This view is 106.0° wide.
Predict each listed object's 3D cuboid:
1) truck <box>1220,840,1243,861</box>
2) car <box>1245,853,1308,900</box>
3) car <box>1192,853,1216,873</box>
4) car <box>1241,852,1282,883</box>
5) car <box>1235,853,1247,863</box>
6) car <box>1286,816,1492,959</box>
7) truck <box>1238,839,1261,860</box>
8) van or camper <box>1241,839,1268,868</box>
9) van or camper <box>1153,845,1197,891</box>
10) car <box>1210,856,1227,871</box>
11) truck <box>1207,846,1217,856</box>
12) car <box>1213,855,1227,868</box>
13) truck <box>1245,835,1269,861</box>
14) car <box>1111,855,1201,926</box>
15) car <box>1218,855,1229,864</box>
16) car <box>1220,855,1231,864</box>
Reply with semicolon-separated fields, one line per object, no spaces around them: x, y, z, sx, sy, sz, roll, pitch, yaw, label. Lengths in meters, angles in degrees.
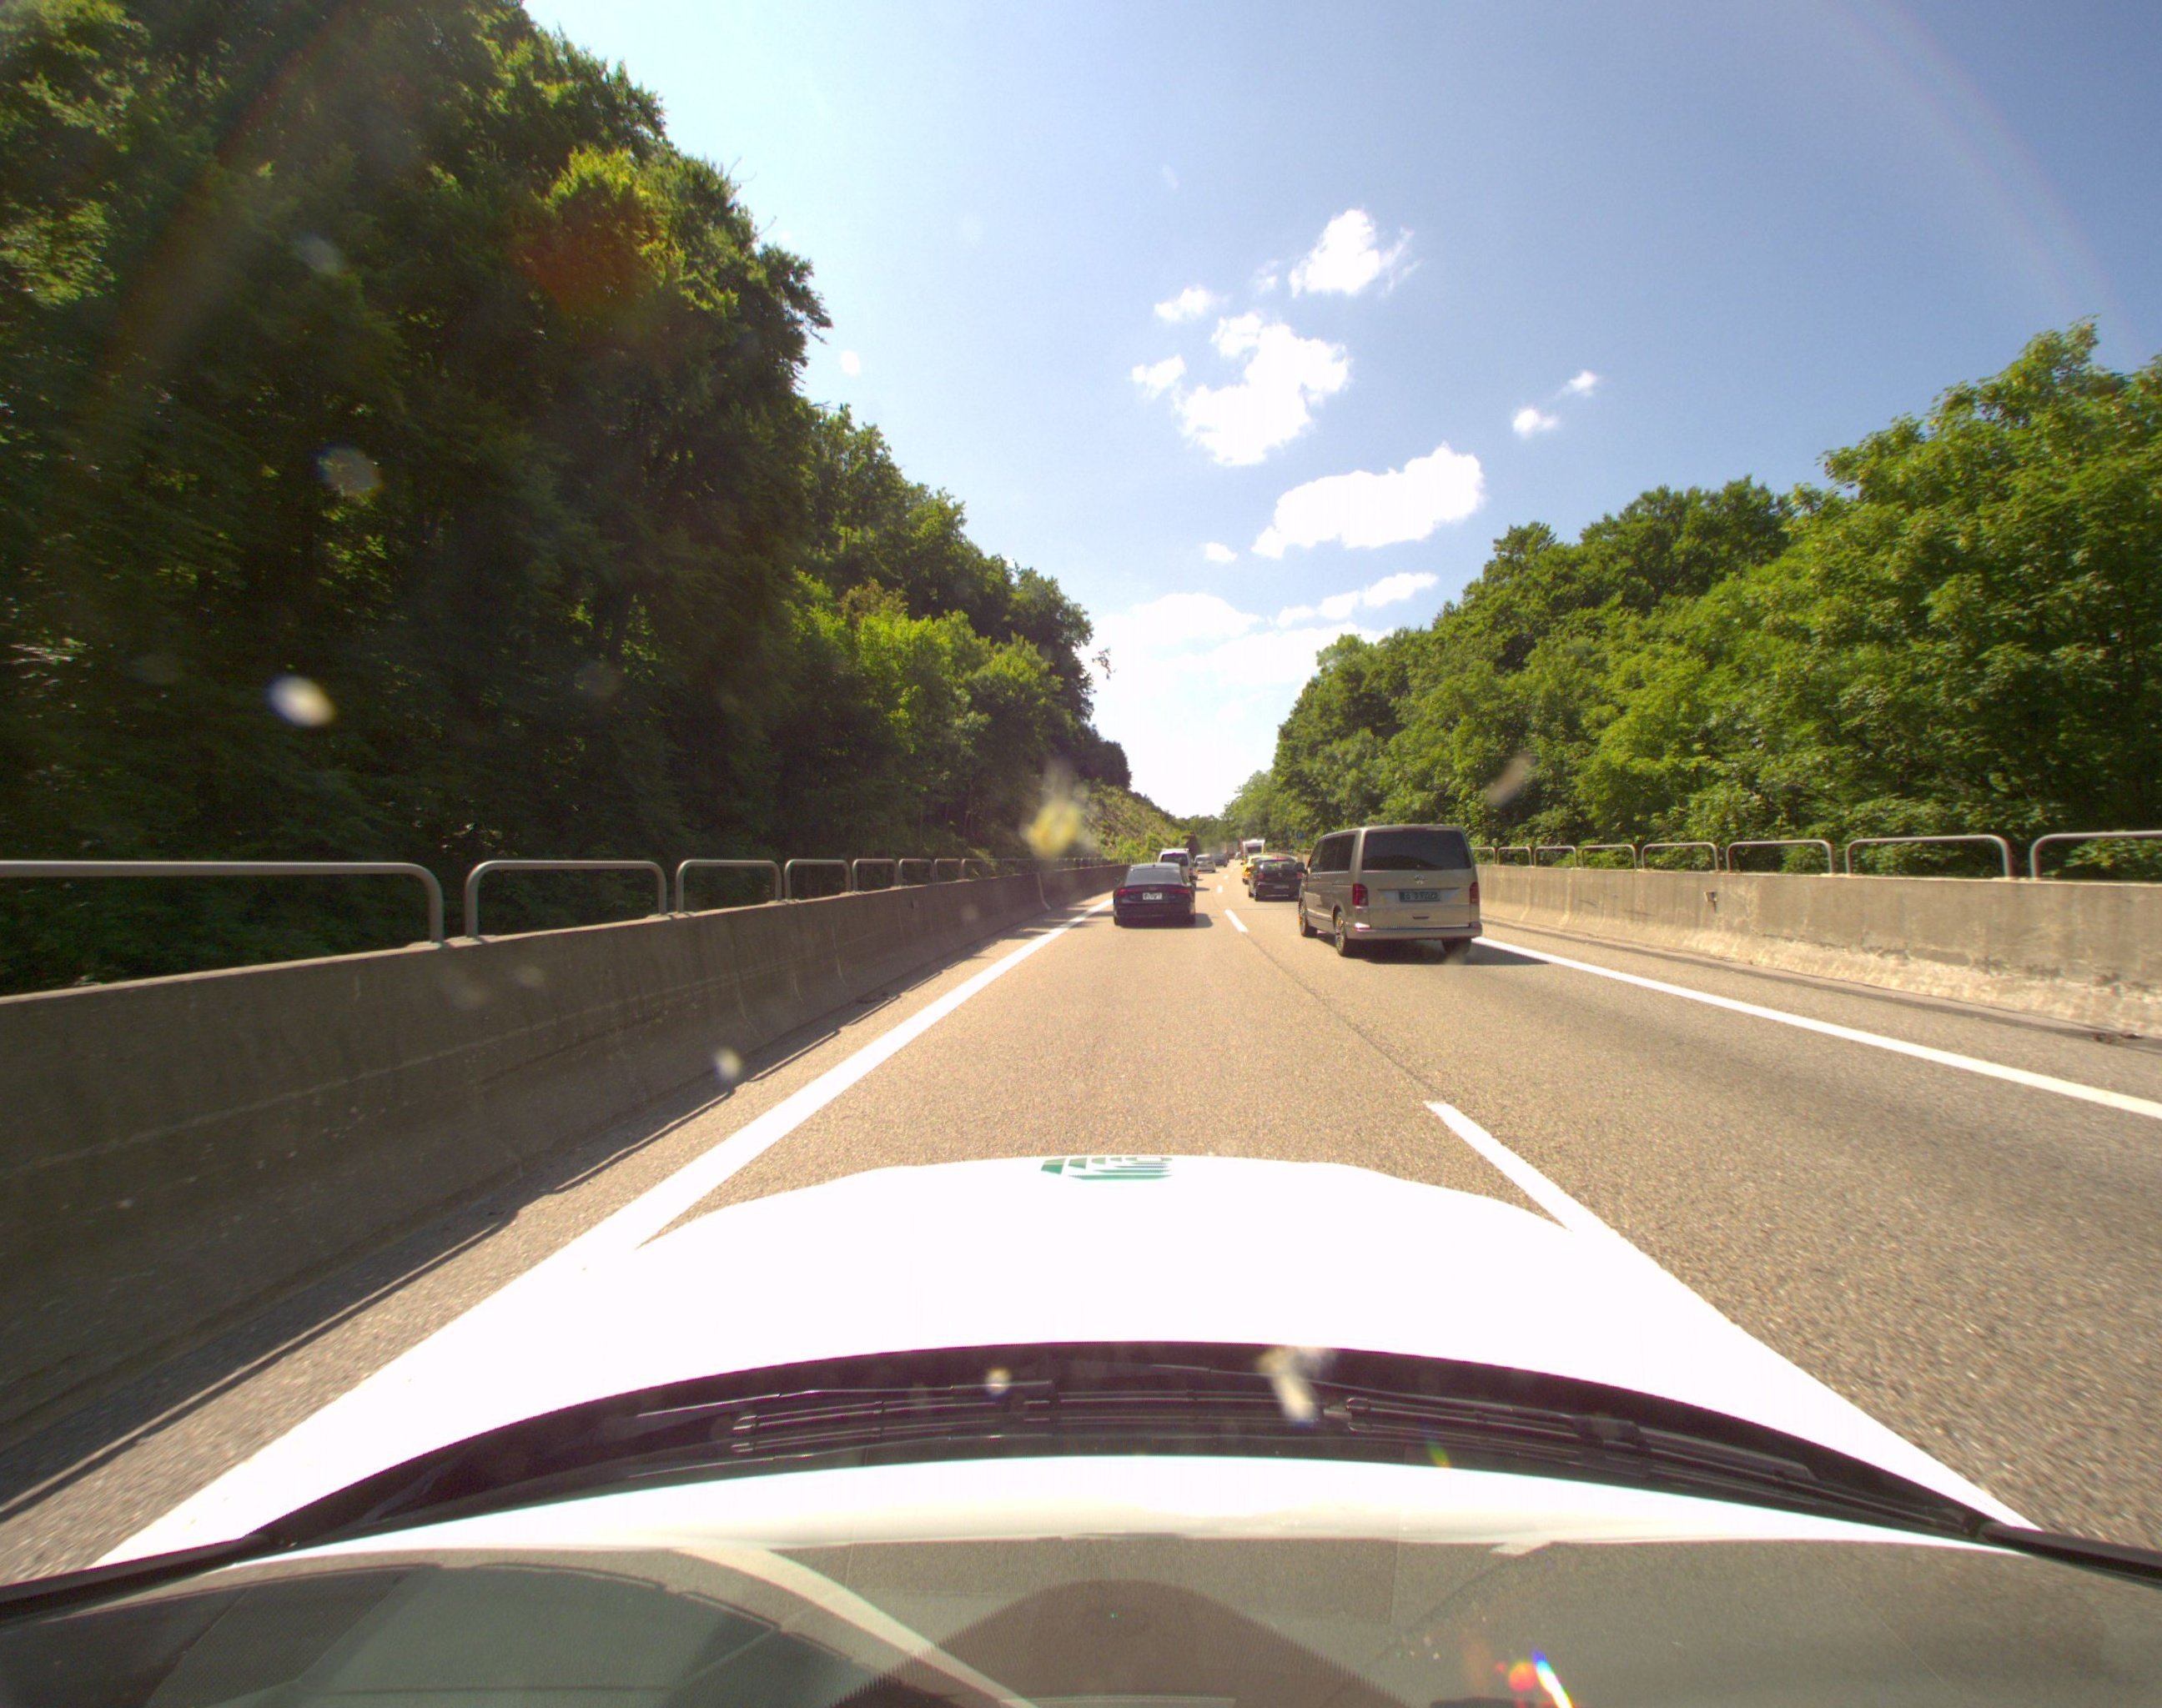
33.747;-0.713;182.848;3.697;4.504;7.725;-1;-1;1;truck
6.703;0.730;28.263;1.676;1.458;4.008;-2;-1;7;car
10.399;0.779;69.164;1.885;1.584;3.778;-2;0;7;car
9.202;0.684;41.850;1.797;1.478;4.092;-2;-1;9;car
32.295;0.758;164.323;1.983;1.860;4.007;-2;0;6;car
4.849;0.488;13.644;1.932;1.931;4.700;-2;-1;4;car
29.787;-0.773;144.409;3.147;3.468;8.235;-2;-1;6;truck
18.309;-0.034;85.950;2.586;2.855;6.356;-2;-1;12;van or camper
4.427;0.631;37.838;1.843;1.942;4.174;-2;-1;8;van or camper
15.448;1.028;91.473;1.740;1.571;3.782;-2;-1;11;car
28.715;-0.600;178.553;1.984;2.014;4.005;-2;0;4;truck
18.040;1.012;105.742;1.740;1.571;3.782;-2;-1;10;car
26.340;-0.815;122.259;2.909;3.687;7.741;-1;-1;8;truck
1.750;0.819;19.900;1.897;1.489;4.382;-2;-1;3;car
23.804;0.911;135.606;1.740;1.571;3.782;-2;-1;10;car
26.542;1.083;149.505;1.742;1.571;3.778;-1;-1;6;car
